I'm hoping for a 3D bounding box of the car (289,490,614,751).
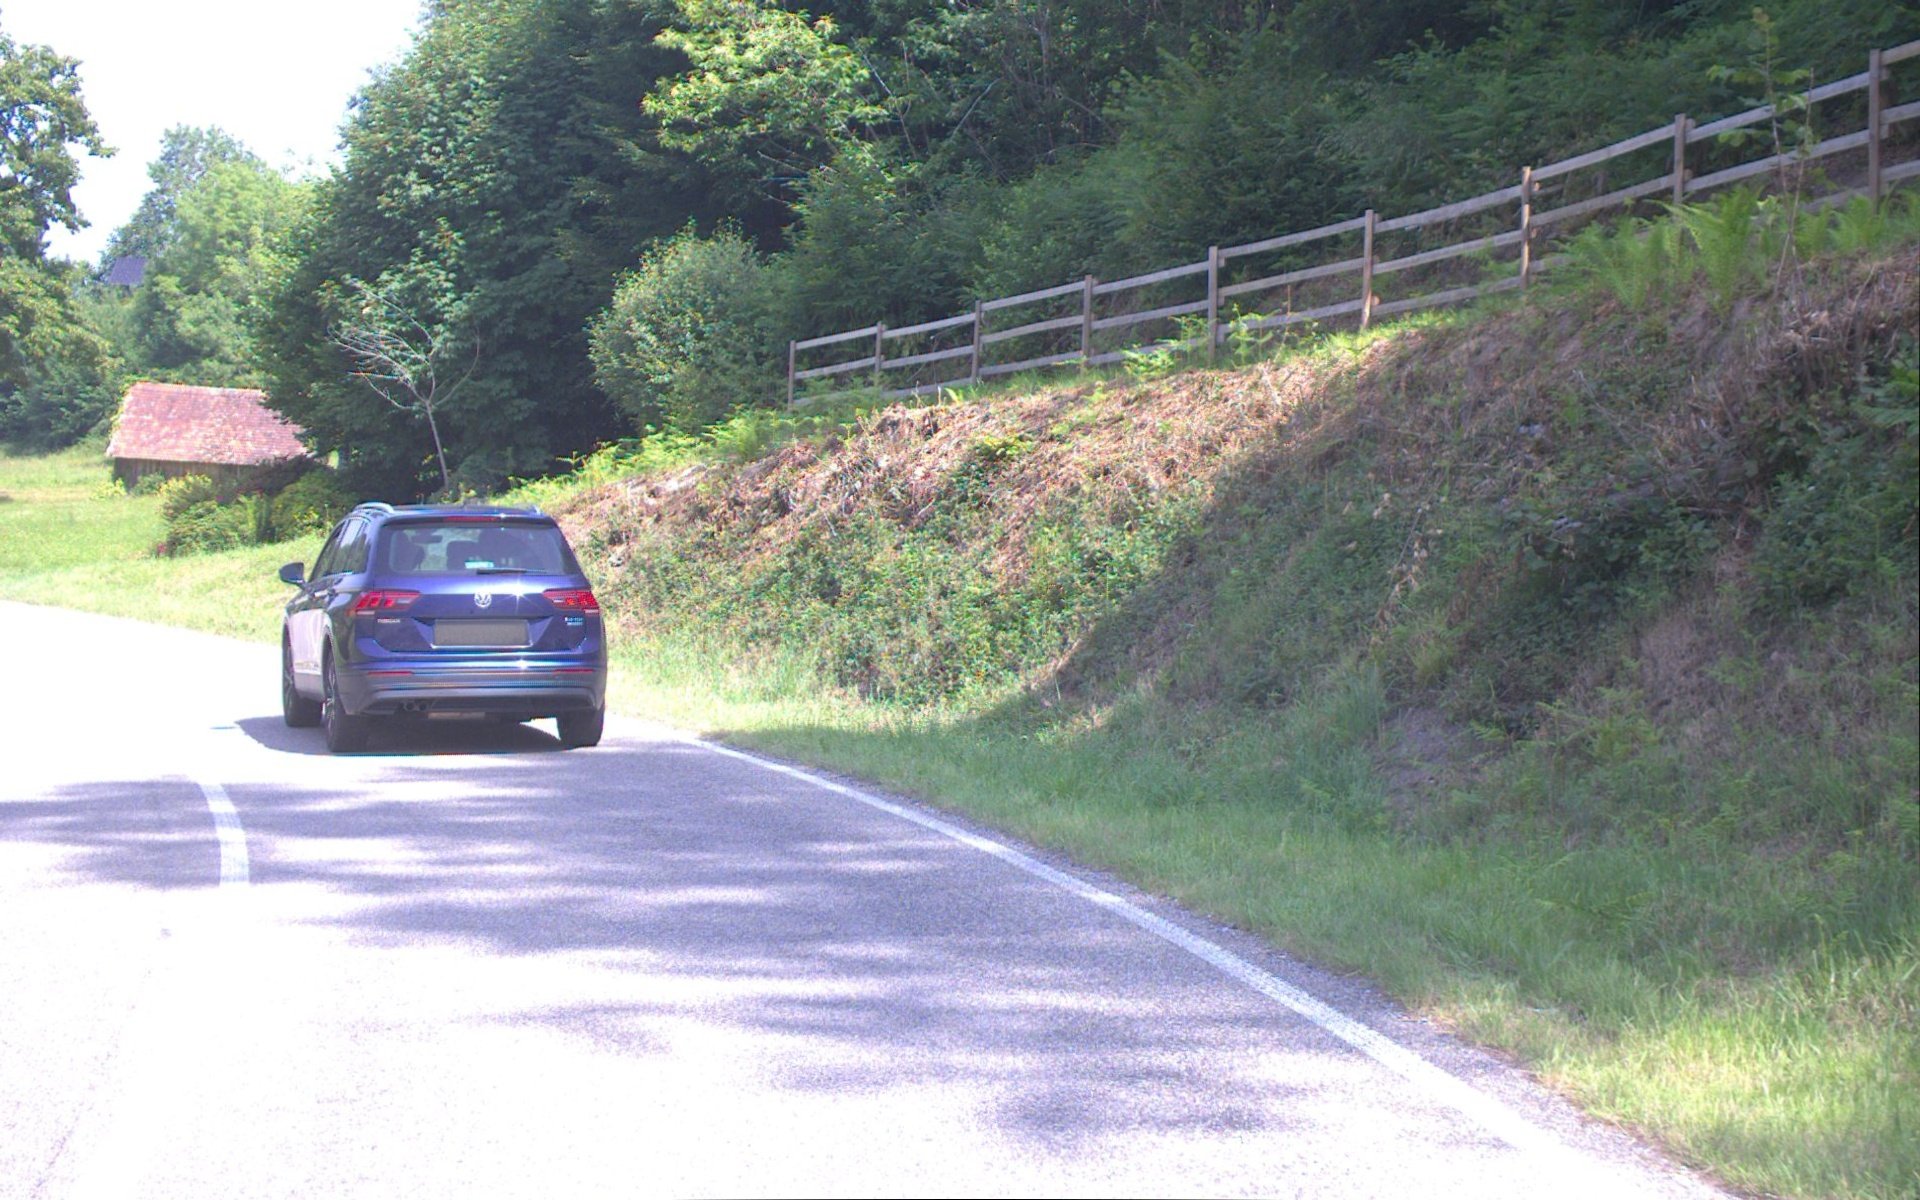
[{"bbox_3d":[-3.617,0.074,23.874,1.852,1.643,4.141,0,2,-14],"label":"car"}]
